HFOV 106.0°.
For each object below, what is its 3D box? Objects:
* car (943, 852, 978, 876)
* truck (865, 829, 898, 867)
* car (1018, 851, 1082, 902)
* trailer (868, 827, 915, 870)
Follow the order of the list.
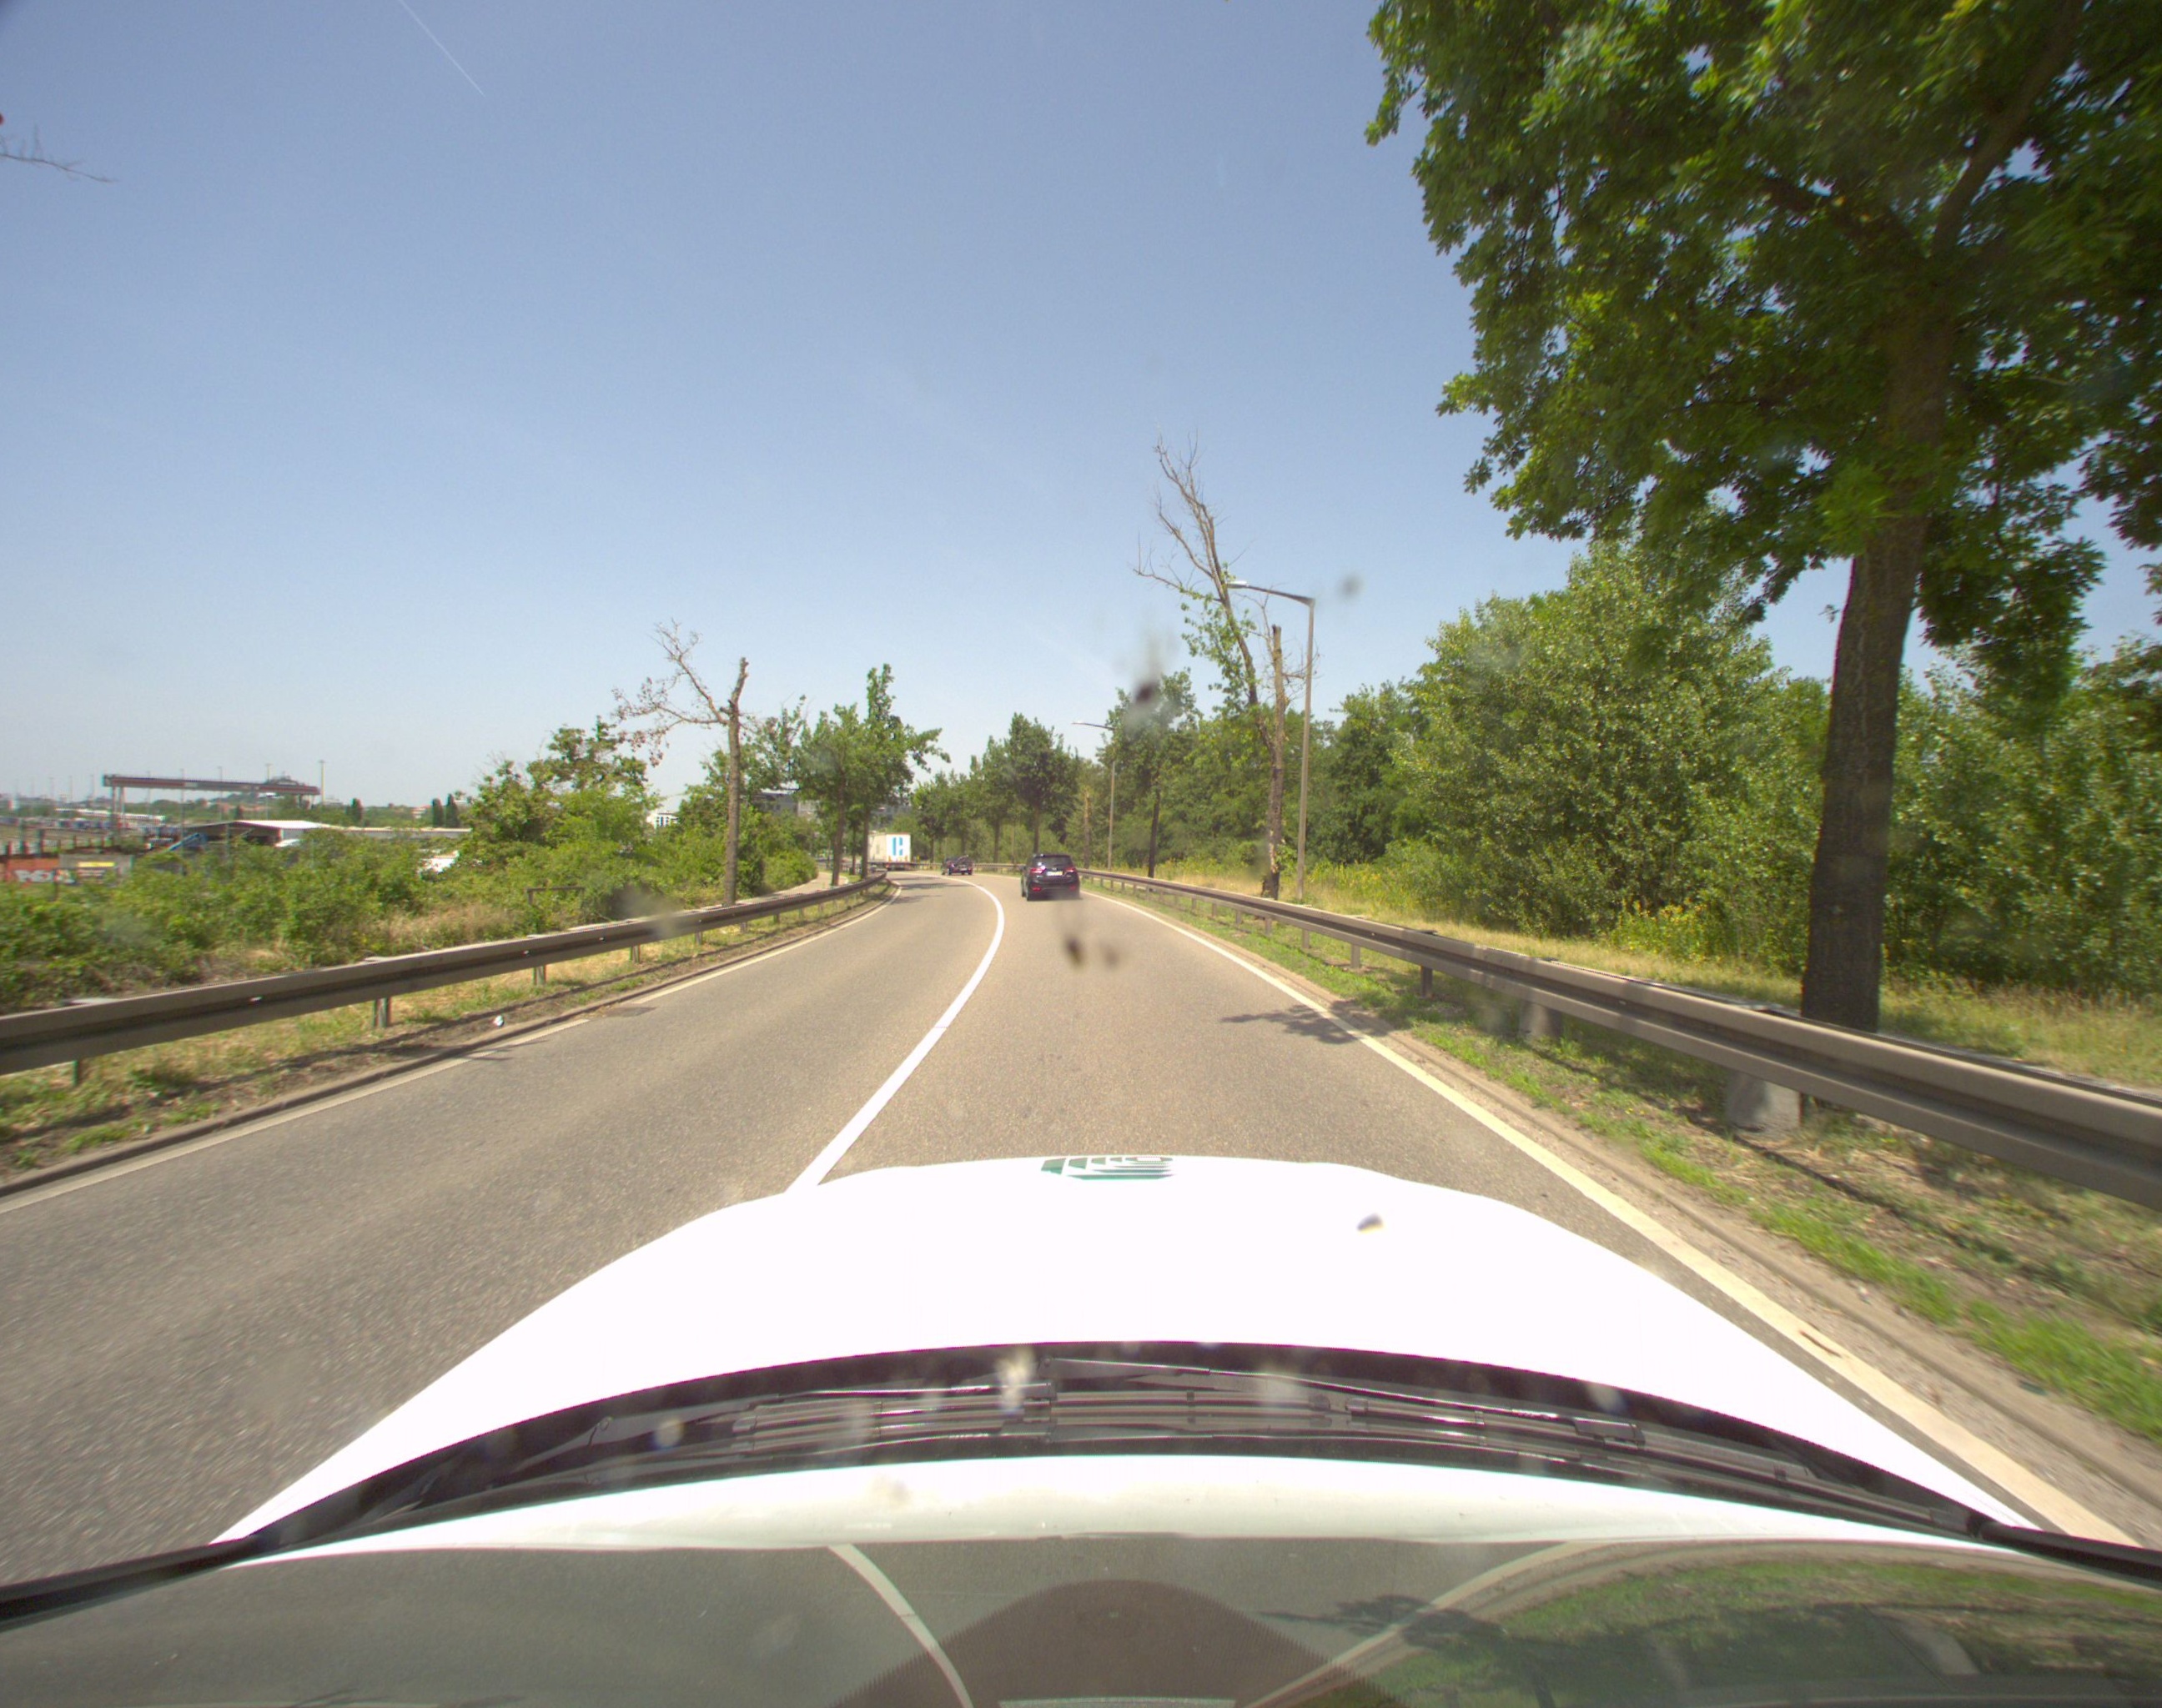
[{"bbox_3d":[-8.829,0.725,59.490,1.961,1.634,4.256,0,-1,-16],"label":"car"},{"bbox_3d":[-23.938,-0.731,97.462,3.087,4.368,6.036,1,0,-21],"label":"truck"},{"bbox_3d":[-1.158,0.707,28.294,1.766,1.599,4.065,-1,0,-9],"label":"car"},{"bbox_3d":[-21.203,-0.619,90.145,3.089,4.368,14.672,1,1,-21],"label":"trailer"}]
